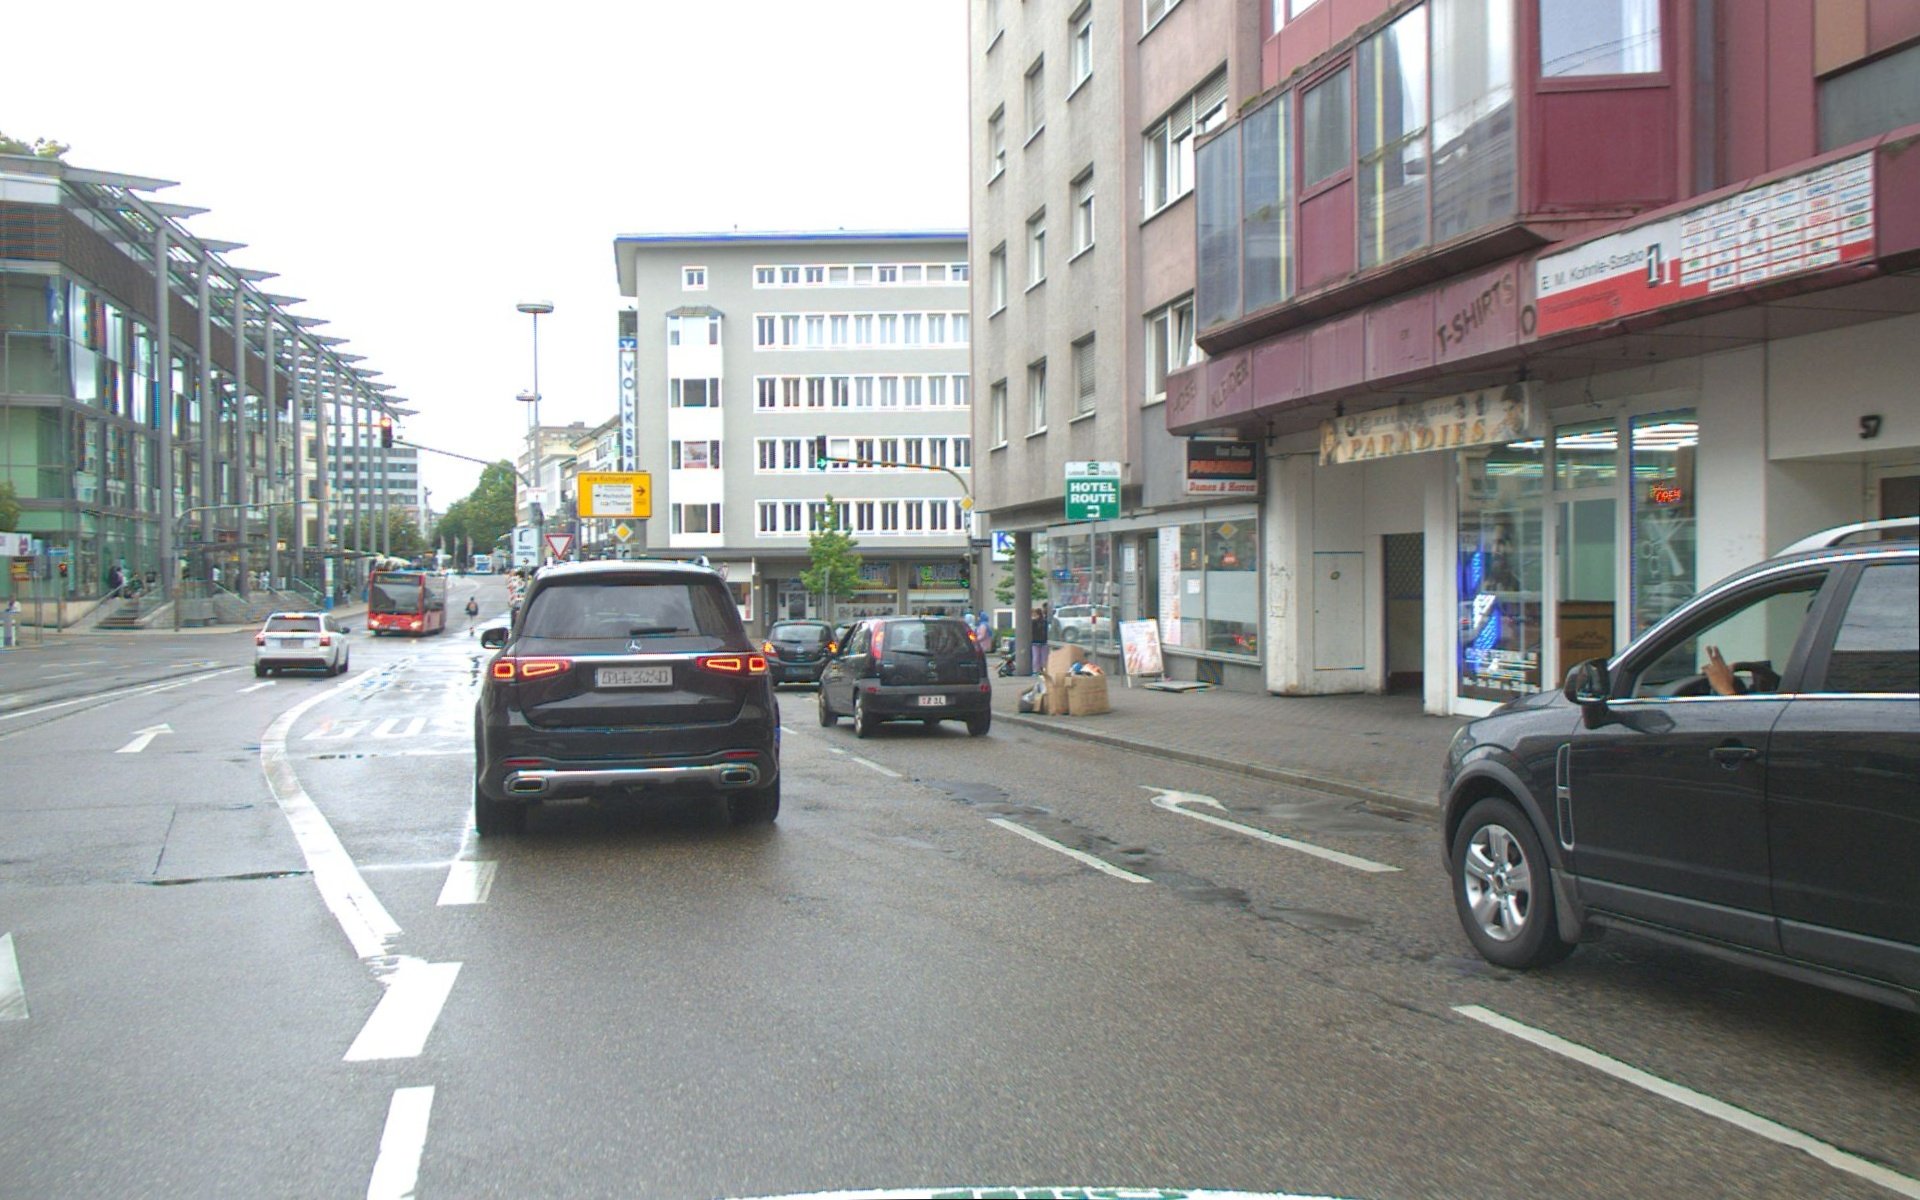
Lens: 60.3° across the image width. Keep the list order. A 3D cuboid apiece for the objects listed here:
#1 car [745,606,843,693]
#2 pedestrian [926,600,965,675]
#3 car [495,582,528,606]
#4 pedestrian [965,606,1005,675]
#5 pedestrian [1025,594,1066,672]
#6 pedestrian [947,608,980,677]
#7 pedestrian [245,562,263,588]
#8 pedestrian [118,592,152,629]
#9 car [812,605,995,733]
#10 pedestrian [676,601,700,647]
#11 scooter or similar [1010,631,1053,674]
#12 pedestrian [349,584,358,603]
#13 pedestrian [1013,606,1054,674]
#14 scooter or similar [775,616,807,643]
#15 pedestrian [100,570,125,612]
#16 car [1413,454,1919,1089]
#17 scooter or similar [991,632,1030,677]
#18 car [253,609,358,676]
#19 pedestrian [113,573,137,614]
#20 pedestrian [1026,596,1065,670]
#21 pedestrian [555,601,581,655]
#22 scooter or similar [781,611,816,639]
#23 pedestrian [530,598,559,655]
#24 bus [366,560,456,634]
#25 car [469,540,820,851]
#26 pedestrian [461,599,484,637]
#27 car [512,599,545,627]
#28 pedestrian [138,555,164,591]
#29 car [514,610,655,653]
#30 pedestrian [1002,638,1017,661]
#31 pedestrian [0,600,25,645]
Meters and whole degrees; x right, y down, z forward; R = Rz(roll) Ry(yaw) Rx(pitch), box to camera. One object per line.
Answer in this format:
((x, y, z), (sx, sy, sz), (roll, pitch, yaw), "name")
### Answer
((-3.573, 1.007, 35.304), (1.913, 1.601, 3.994), (2, 1, -7), "car")
((-0.343, 0.885, 38.840), (0.613, 1.722, 0.782), (-3, -2, 21), "pedestrian")
((-34.883, -0.445, 128.655), (2.382, 1.811, 5.134), (1, 0, -15), "car")
((0.614, 1.015, 41.063), (0.728, 1.664, 0.595), (-5, -4, 27), "pedestrian")
((2.169, 0.846, 41.967), (0.820, 1.897, 0.656), (-3, -3, -10), "pedestrian")
((0.093, 1.070, 41.648), (0.530, 1.666, 0.835), (-3, -4, -15), "pedestrian")
((-48.855, -1.729, 114.480), (1.023, 1.743, 1.002), (1, -1, -20), "pedestrian")
((-38.869, 0.486, 77.941), (1.016, 1.743, 1.008), (0, -1, 13), "pedestrian")
((-0.802, 0.830, 20.785), (1.686, 1.445, 3.759), (1, -1, -12), "car")
((-10.938, 0.967, 66.597), (0.817, 1.810, 0.614), (2, -1, -20), "pedestrian")
((1.774, 1.303, 41.095), (0.757, 1.003, 1.044), (-2, -3, -15), "scooter or similar")
((-42.956, -0.475, 117.120), (0.501, 1.364, 0.418), (1, -1, -15), "pedestrian")
((1.936, 1.058, 43.654), (1.014, 1.753, 0.838), (-2, -1, 2), "pedestrian")
((-7.771, 1.358, 76.011), (1.350, 1.208, 0.544), (-1, 0, 5), "scooter or similar")
((-41.125, -0.447, 80.280), (0.866, 2.015, 0.971), (1, -1, -15), "pedestrian")
((3.487, 0.486, 5.590), (1.875, 1.817, 4.284), (0, 1, -15), "car")
((1.333, 1.439, 43.698), (0.949, 1.128, 0.655), (-2, -1, 5), "scooter or similar")
((-15.357, 0.955, 39.005), (1.762, 1.440, 4.613), (0, 0, -15), "car")
((-41.084, -0.301, 81.363), (0.860, 2.015, 0.846), (1, -1, -15), "pedestrian")
((2.075, 0.810, 40.307), (0.819, 1.753, 0.616), (-1, -3, -6), "pedestrian")
((-12.664, 0.916, 53.443), (0.742, 1.722, 0.692), (1, -2, -10), "pedestrian")
((-7.603, 1.193, 77.871), (1.465, 1.279, 0.931), (1, -3, 5), "scooter or similar")
((-12.910, 0.829, 51.437), (0.769, 1.741, 0.705), (1, -2, -10), "pedestrian")
((-28.216, -0.072, 85.773), (2.870, 3.379, 18.410), (1, -1, -14), "bus")
((-2.574, 0.540, 12.403), (2.055, 1.849, 4.769), (0, 1, -18), "car")
((-25.073, 0.914, 85.055), (0.936, 1.919, 0.809), (1, -1, -8), "pedestrian")
((-25.634, 0.756, 98.324), (1.707, 1.554, 3.987), (1, 0, -13), "car")
((-39.862, -1.310, 81.493), (1.023, 1.743, 1.002), (1, -1, -20), "pedestrian")
((-13.634, 1.140, 60.150), (4.638, 1.471, 1.792), (0, 0, 5), "car")
((1.316, 1.312, 43.729), (0.363, 0.581, 0.459), (-2, -1, 5), "pedestrian")
((-34.458, 0.809, 59.734), (0.856, 1.614, 1.151), (0, -1, -11), "pedestrian")
